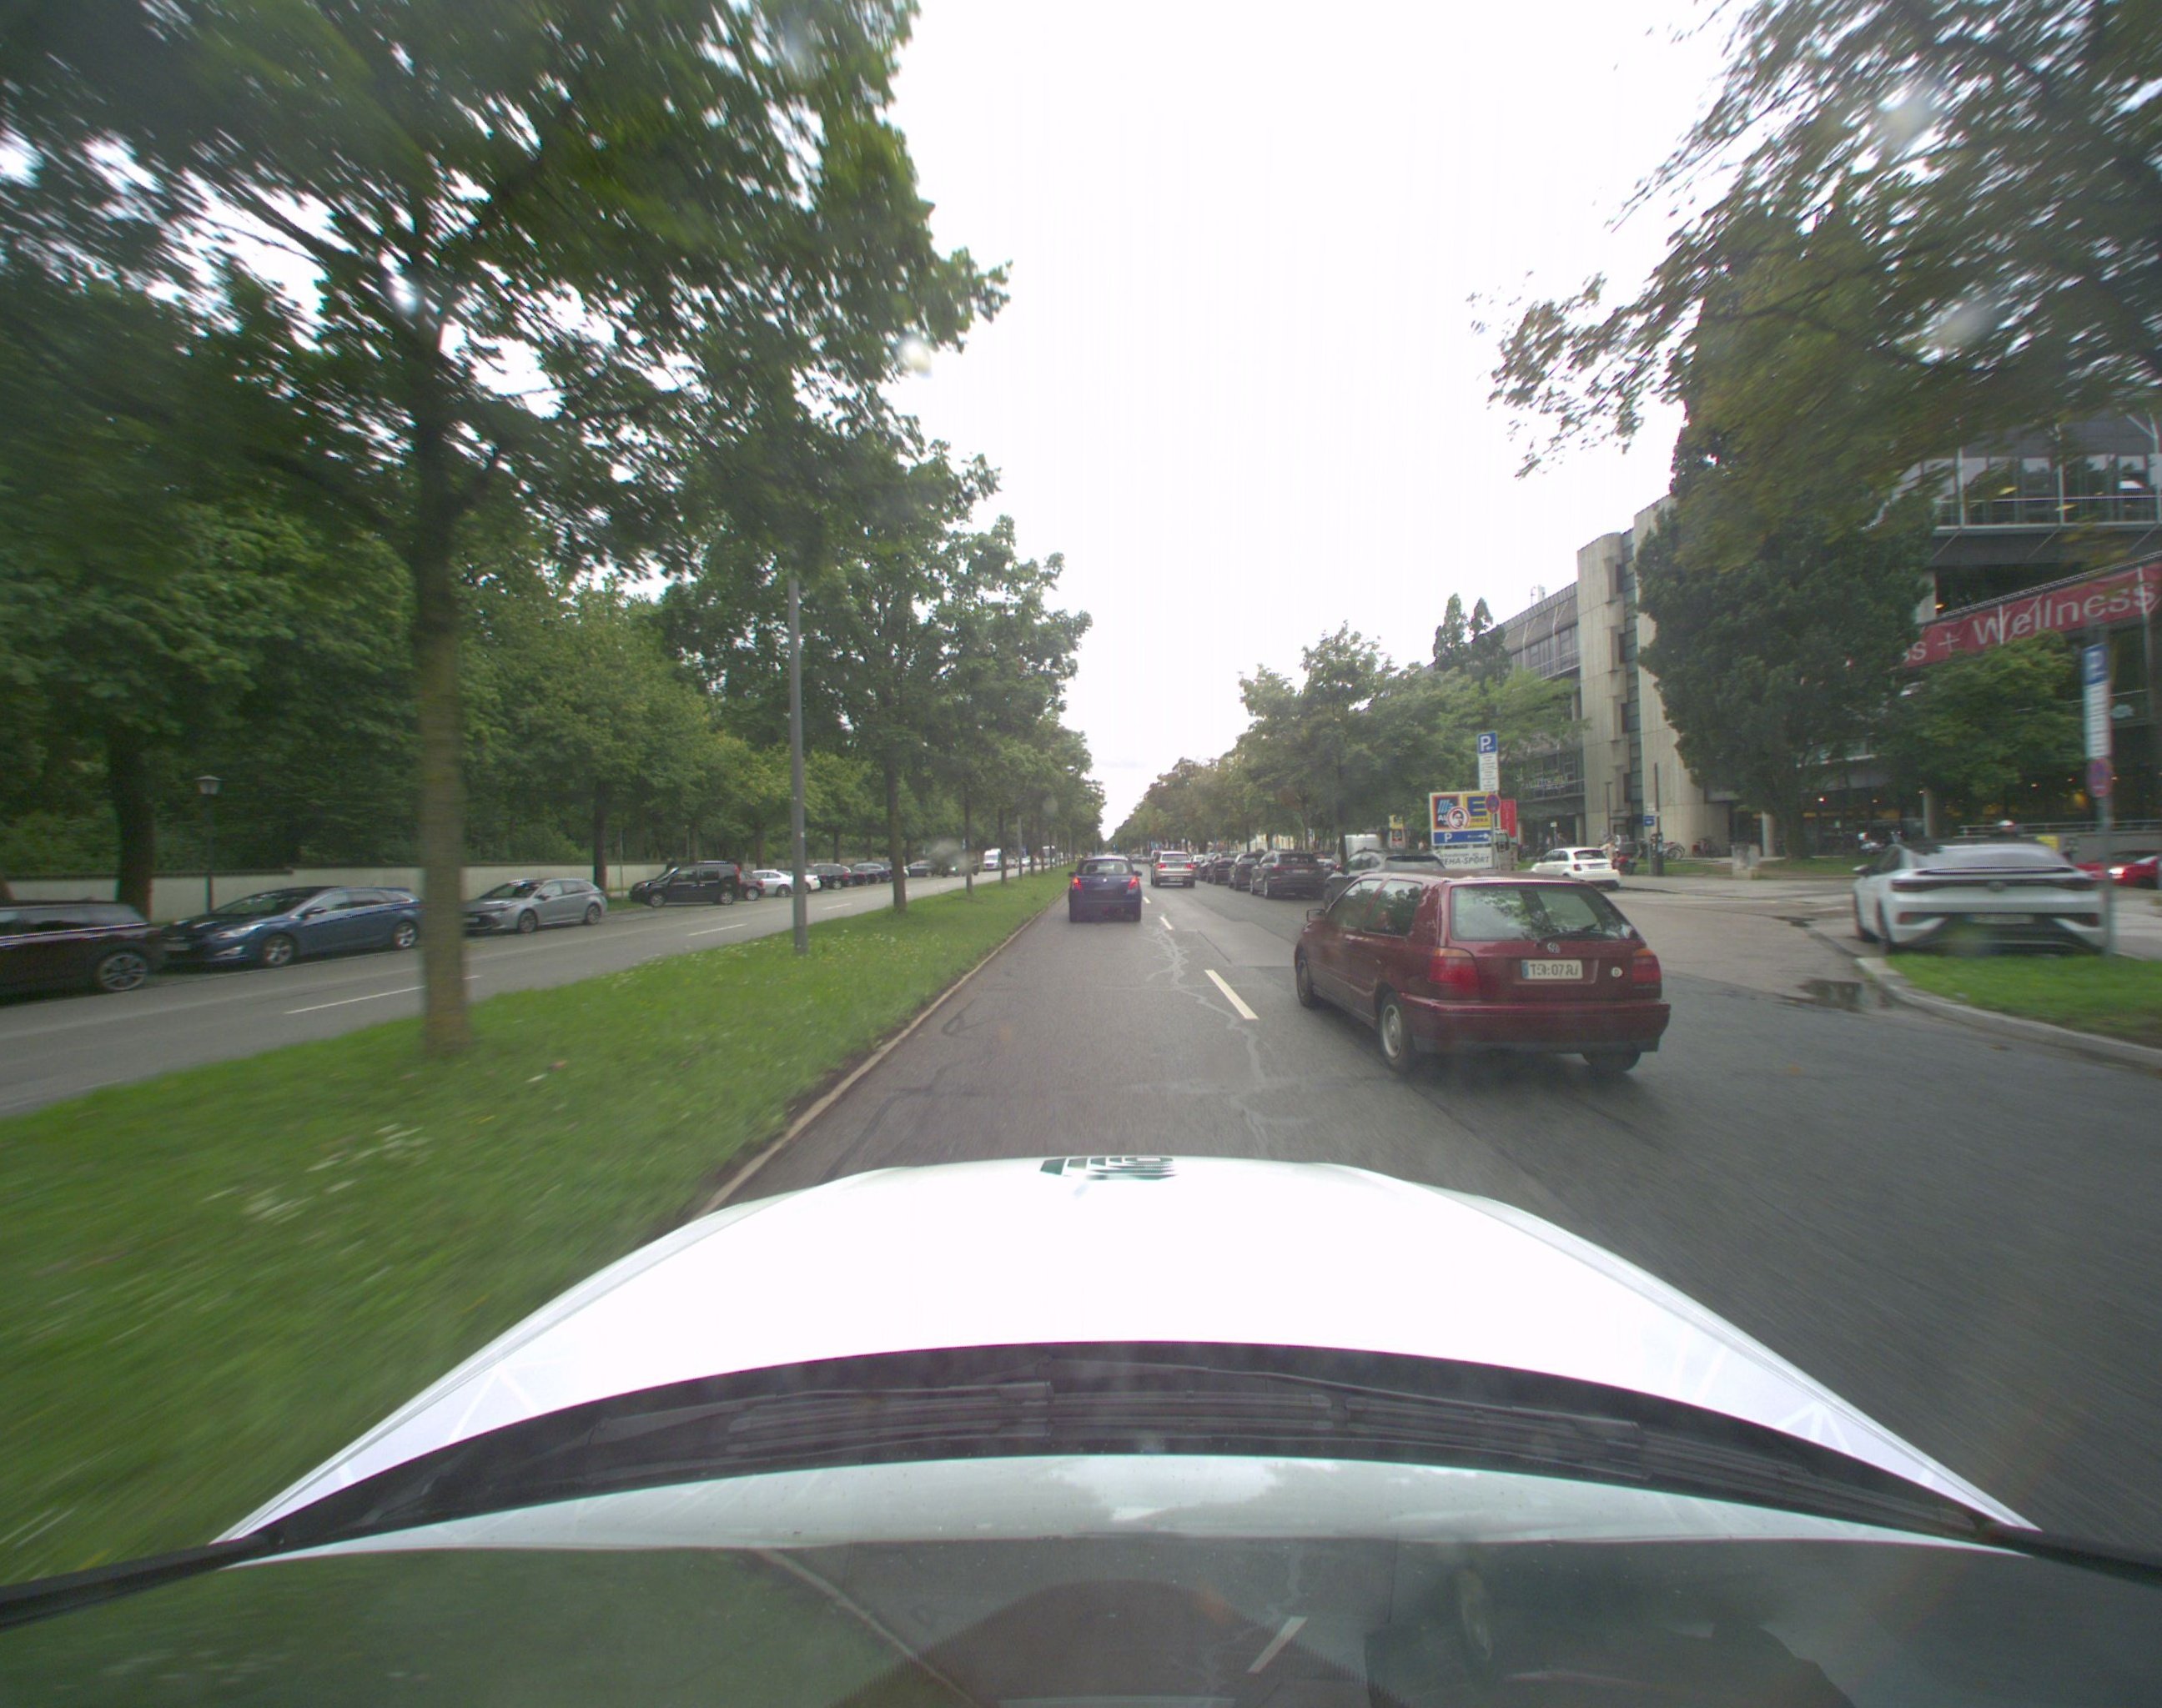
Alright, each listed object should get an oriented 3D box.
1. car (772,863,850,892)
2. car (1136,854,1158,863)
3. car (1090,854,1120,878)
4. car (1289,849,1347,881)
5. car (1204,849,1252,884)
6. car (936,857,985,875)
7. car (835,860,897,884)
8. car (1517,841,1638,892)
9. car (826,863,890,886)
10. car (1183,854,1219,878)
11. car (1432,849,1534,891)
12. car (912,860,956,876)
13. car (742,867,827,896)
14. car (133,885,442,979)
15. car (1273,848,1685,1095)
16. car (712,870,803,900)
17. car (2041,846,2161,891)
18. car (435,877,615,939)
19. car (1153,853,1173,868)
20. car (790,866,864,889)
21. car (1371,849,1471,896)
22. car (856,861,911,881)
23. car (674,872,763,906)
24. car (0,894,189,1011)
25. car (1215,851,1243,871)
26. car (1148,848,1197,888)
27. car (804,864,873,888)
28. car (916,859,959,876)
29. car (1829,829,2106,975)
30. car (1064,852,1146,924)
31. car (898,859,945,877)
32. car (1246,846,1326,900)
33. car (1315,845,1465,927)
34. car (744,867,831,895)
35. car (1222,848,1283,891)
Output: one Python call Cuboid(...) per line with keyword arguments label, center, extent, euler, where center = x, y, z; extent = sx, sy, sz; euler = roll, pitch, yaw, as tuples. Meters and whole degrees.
Cuboid(label="car", center=(-16.520, 1.418, 49.913), extent=(4.127, 1.597, 1.897), euler=(-2, 0, -38))
Cuboid(label="car", center=(10.295, 0.721, 127.942), extent=(1.856, 1.447, 4.070), euler=(-1, 0, -20))
Cuboid(label="car", center=(1.568, 0.780, 53.530), extent=(1.844, 1.447, 4.097), euler=(-1, 0, 0))
Cuboid(label="car", center=(11.777, 0.534, 40.667), extent=(1.742, 1.479, 4.009), euler=(-1, 0, 0))
Cuboid(label="car", center=(7.419, 0.626, 41.410), extent=(1.758, 1.651, 4.425), euler=(-1, 0, 2))
Cuboid(label="car", center=(-11.491, 1.153, 77.745), extent=(4.208, 1.542, 1.897), euler=(-2, 0, -38))
Cuboid(label="car", center=(-16.318, 1.367, 61.877), extent=(4.122, 1.679, 1.900), euler=(-2, 0, -32))
Cuboid(label="car", center=(17.704, 0.422, 29.289), extent=(1.986, 1.651, 4.002), euler=(-2, 0, 2))
Cuboid(label="car", center=(-16.316, 1.463, 59.539), extent=(4.122, 1.469, 1.900), euler=(-2, 0, -32))
Cuboid(label="car", center=(7.774, 0.735, 52.966), extent=(1.701, 1.454, 4.512), euler=(1, 0, 0))
Cuboid(label="car", center=(15.466, 0.584, 31.615), extent=(1.678, 1.454, 4.840), euler=(-1, 0, 2))
Cuboid(label="car", center=(-15.370, 1.452, 84.994), extent=(4.122, 1.585, 1.900), euler=(-2, 0, -32))
Cuboid(label="car", center=(-16.181, 1.484, 44.511), extent=(4.059, 1.381, 1.657), euler=(-2, 0, -34))
Cuboid(label="car", center=(-15.784, 1.453, 16.665), extent=(1.581, 1.459, 4.799), euler=(0, 0, 1))
Cuboid(label="car", center=(2.880, 0.716, 6.914), extent=(1.616, 1.454, 3.951), euler=(-1, 0, 1))
Cuboid(label="car", center=(-16.353, 1.535, 41.229), extent=(4.015, 1.354, 1.832), euler=(-2, 0, -33))
Cuboid(label="car", center=(28.540, 0.367, 22.027), extent=(3.431, 1.151, 1.560), euler=(-1, 0, -2))
Cuboid(label="car", center=(-15.545, 1.446, 23.160), extent=(1.629, 1.439, 4.812), euler=(0, 0, 3))
Cuboid(label="car", center=(9.169, 0.723, 91.342), extent=(1.679, 1.553, 4.304), euler=(-1, 0, -1))
Cuboid(label="car", center=(-16.618, 1.534, 53.318), extent=(4.217, 1.322, 1.900), euler=(-2, 0, -32))
Cuboid(label="car", center=(11.582, 0.596, 28.043), extent=(1.758, 1.488, 3.998), euler=(0, 0, -1))
Cuboid(label="car", center=(-16.718, 1.440, 68.914), extent=(4.119, 1.501, 1.901), euler=(-2, 0, -29))
Cuboid(label="car", center=(-16.738, 1.581, 37.604), extent=(3.590, 1.354, 1.737), euler=(-2, 0, -29))
Cuboid(label="car", center=(-15.755, 1.422, 11.401), extent=(1.563, 1.503, 4.310), euler=(0, 0, 6))
Cuboid(label="car", center=(12.561, 0.561, 69.411), extent=(1.678, 1.632, 4.782), euler=(-1, 0, 2))
Cuboid(label="car", center=(4.247, 0.616, 38.543), extent=(1.844, 1.743, 4.097), euler=(-1, 0, 0))
Cuboid(label="car", center=(-16.741, 1.500, 56.180), extent=(4.213, 1.410, 1.900), euler=(-2, 0, -32))
Cuboid(label="car", center=(-15.489, 1.429, 88.023), extent=(4.122, 1.652, 1.900), euler=(-2, 0, -32))
Cuboid(label="car", center=(12.164, 0.526, 11.564), extent=(1.948, 1.625, 4.877), euler=(-1, 0, 39))
Cuboid(label="car", center=(0.547, 0.755, 20.090), extent=(1.783, 1.555, 4.000), euler=(-1, 0, 0))
Cuboid(label="car", center=(-15.920, 1.406, 81.368), extent=(4.122, 1.695, 1.900), euler=(-2, 0, -32))
Cuboid(label="car", center=(7.104, 0.612, 28.654), extent=(1.754, 1.701, 4.823), euler=(-1, 0, 2))
Cuboid(label="car", center=(6.846, 0.649, 18.572), extent=(1.755, 1.589, 4.453), euler=(-1, 0, 1))
Cuboid(label="car", center=(-16.845, 1.533, 46.845), extent=(4.263, 1.422, 1.897), euler=(-2, 0, -40))
Cuboid(label="car", center=(7.224, 0.626, 34.726), extent=(1.716, 1.651, 4.390), euler=(-1, 0, 1))
